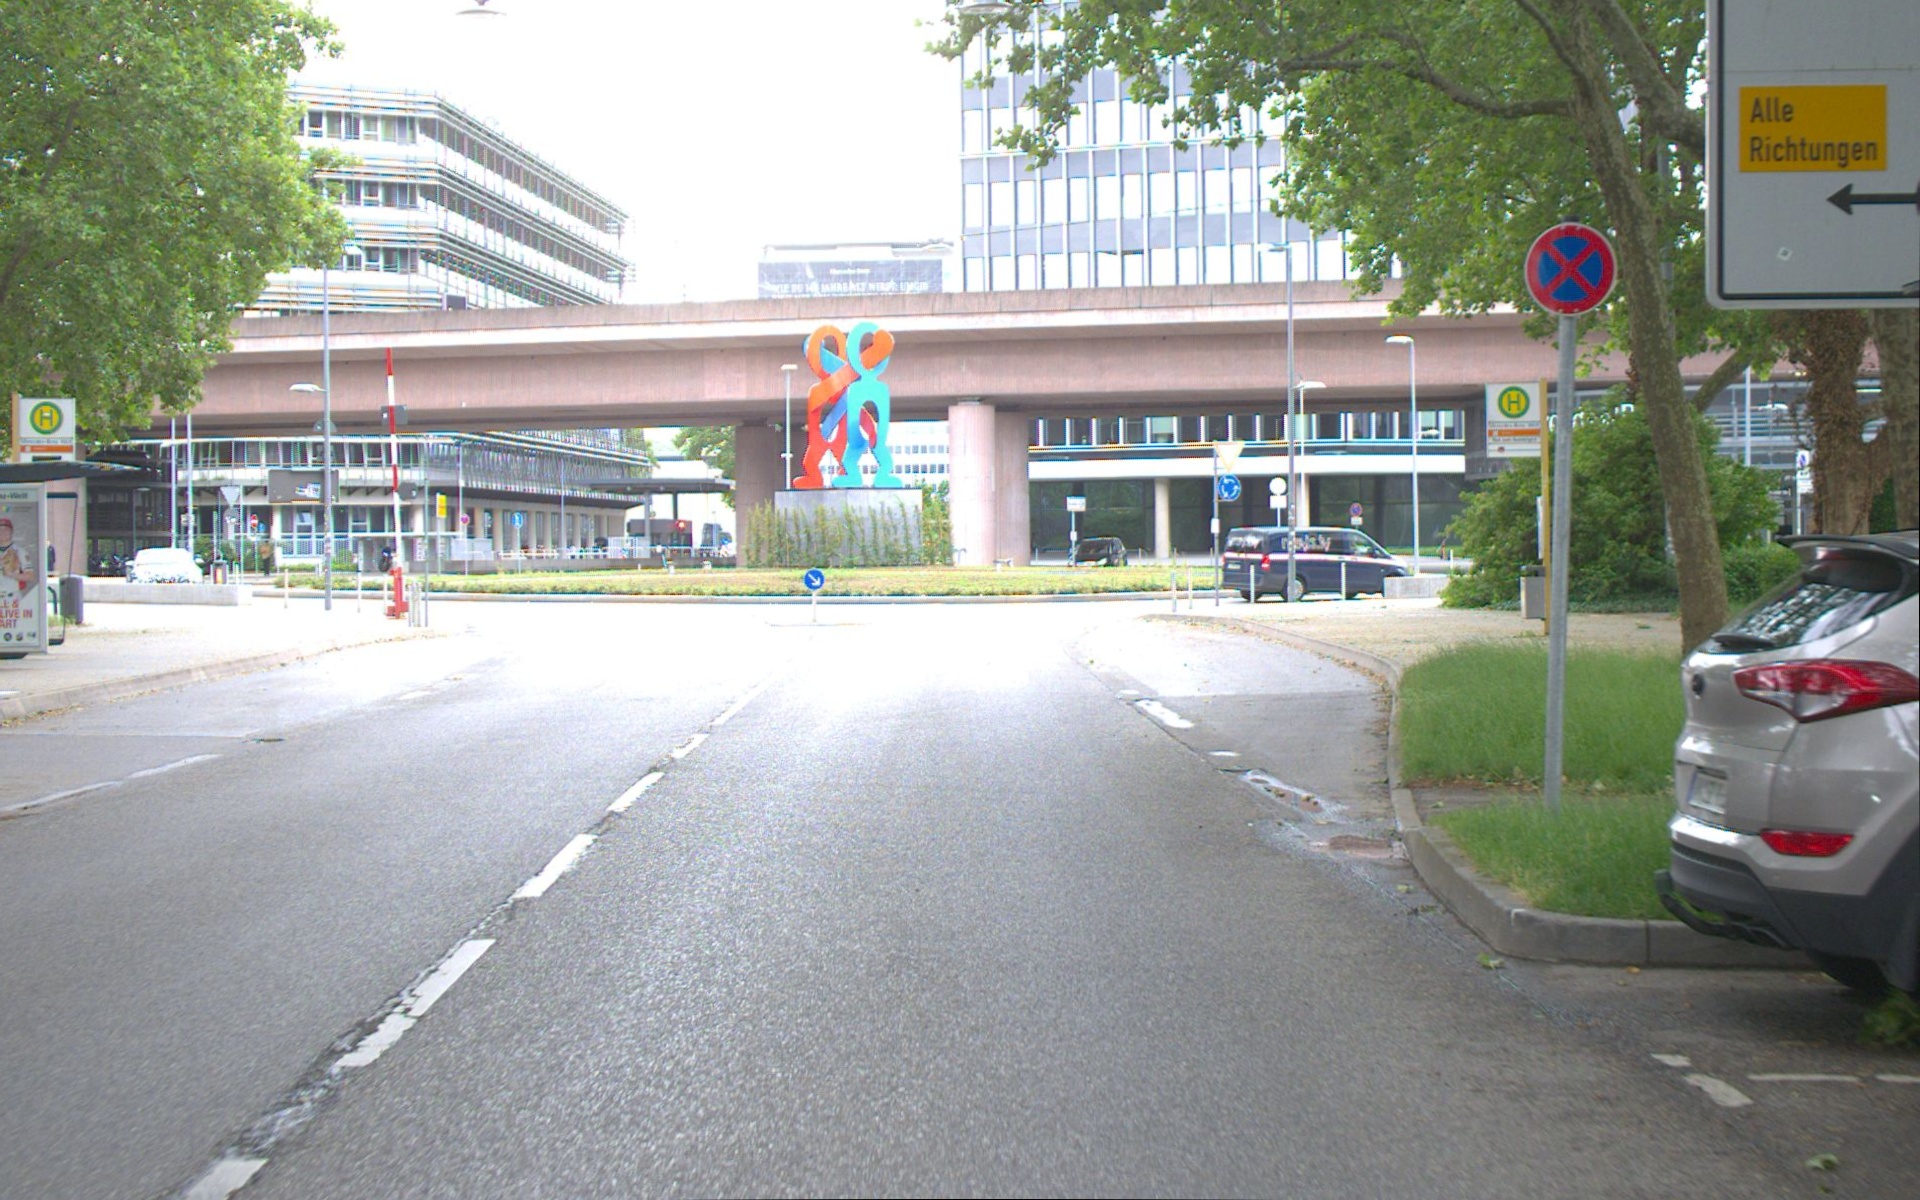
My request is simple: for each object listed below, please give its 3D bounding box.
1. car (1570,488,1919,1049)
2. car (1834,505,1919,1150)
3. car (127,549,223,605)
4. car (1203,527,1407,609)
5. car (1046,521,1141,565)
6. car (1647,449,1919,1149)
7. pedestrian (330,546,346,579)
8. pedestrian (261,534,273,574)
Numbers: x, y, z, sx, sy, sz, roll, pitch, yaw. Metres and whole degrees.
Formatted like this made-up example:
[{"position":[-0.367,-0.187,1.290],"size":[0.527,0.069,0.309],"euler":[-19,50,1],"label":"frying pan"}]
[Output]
[{"position":[4.313,0.497,10.993],"size":[4.346,1.628,1.926],"euler":[1,2,0],"label":"car"},{"position":[4.567,0.605,8.375],"size":[4.346,1.599,1.926],"euler":[1,2,0],"label":"car"},{"position":[-22.219,-0.666,97.450],"size":[1.900,1.448,4.816],"euler":[-2,1,-4],"label":"car"},{"position":[8.772,-0.808,87.329],"size":[4.768,2.007,2.283],"euler":[0,1,-32],"label":"car"},{"position":[5.482,-2.338,140.742],"size":[1.998,1.766,3.992],"euler":[1,1,36],"label":"car"},{"position":[4.387,0.576,10.859],"size":[3.987,2.007,2.000],"euler":[1,1,0],"label":"car"},{"position":[-38.732,-2.356,214.152],"size":[0.776,2.007,0.671],"euler":[-2,1,0],"label":"pedestrian"},{"position":[-34.881,-2.338,172.955],"size":[0.588,2.007,0.599],"euler":[0,0,-12],"label":"pedestrian"}]
